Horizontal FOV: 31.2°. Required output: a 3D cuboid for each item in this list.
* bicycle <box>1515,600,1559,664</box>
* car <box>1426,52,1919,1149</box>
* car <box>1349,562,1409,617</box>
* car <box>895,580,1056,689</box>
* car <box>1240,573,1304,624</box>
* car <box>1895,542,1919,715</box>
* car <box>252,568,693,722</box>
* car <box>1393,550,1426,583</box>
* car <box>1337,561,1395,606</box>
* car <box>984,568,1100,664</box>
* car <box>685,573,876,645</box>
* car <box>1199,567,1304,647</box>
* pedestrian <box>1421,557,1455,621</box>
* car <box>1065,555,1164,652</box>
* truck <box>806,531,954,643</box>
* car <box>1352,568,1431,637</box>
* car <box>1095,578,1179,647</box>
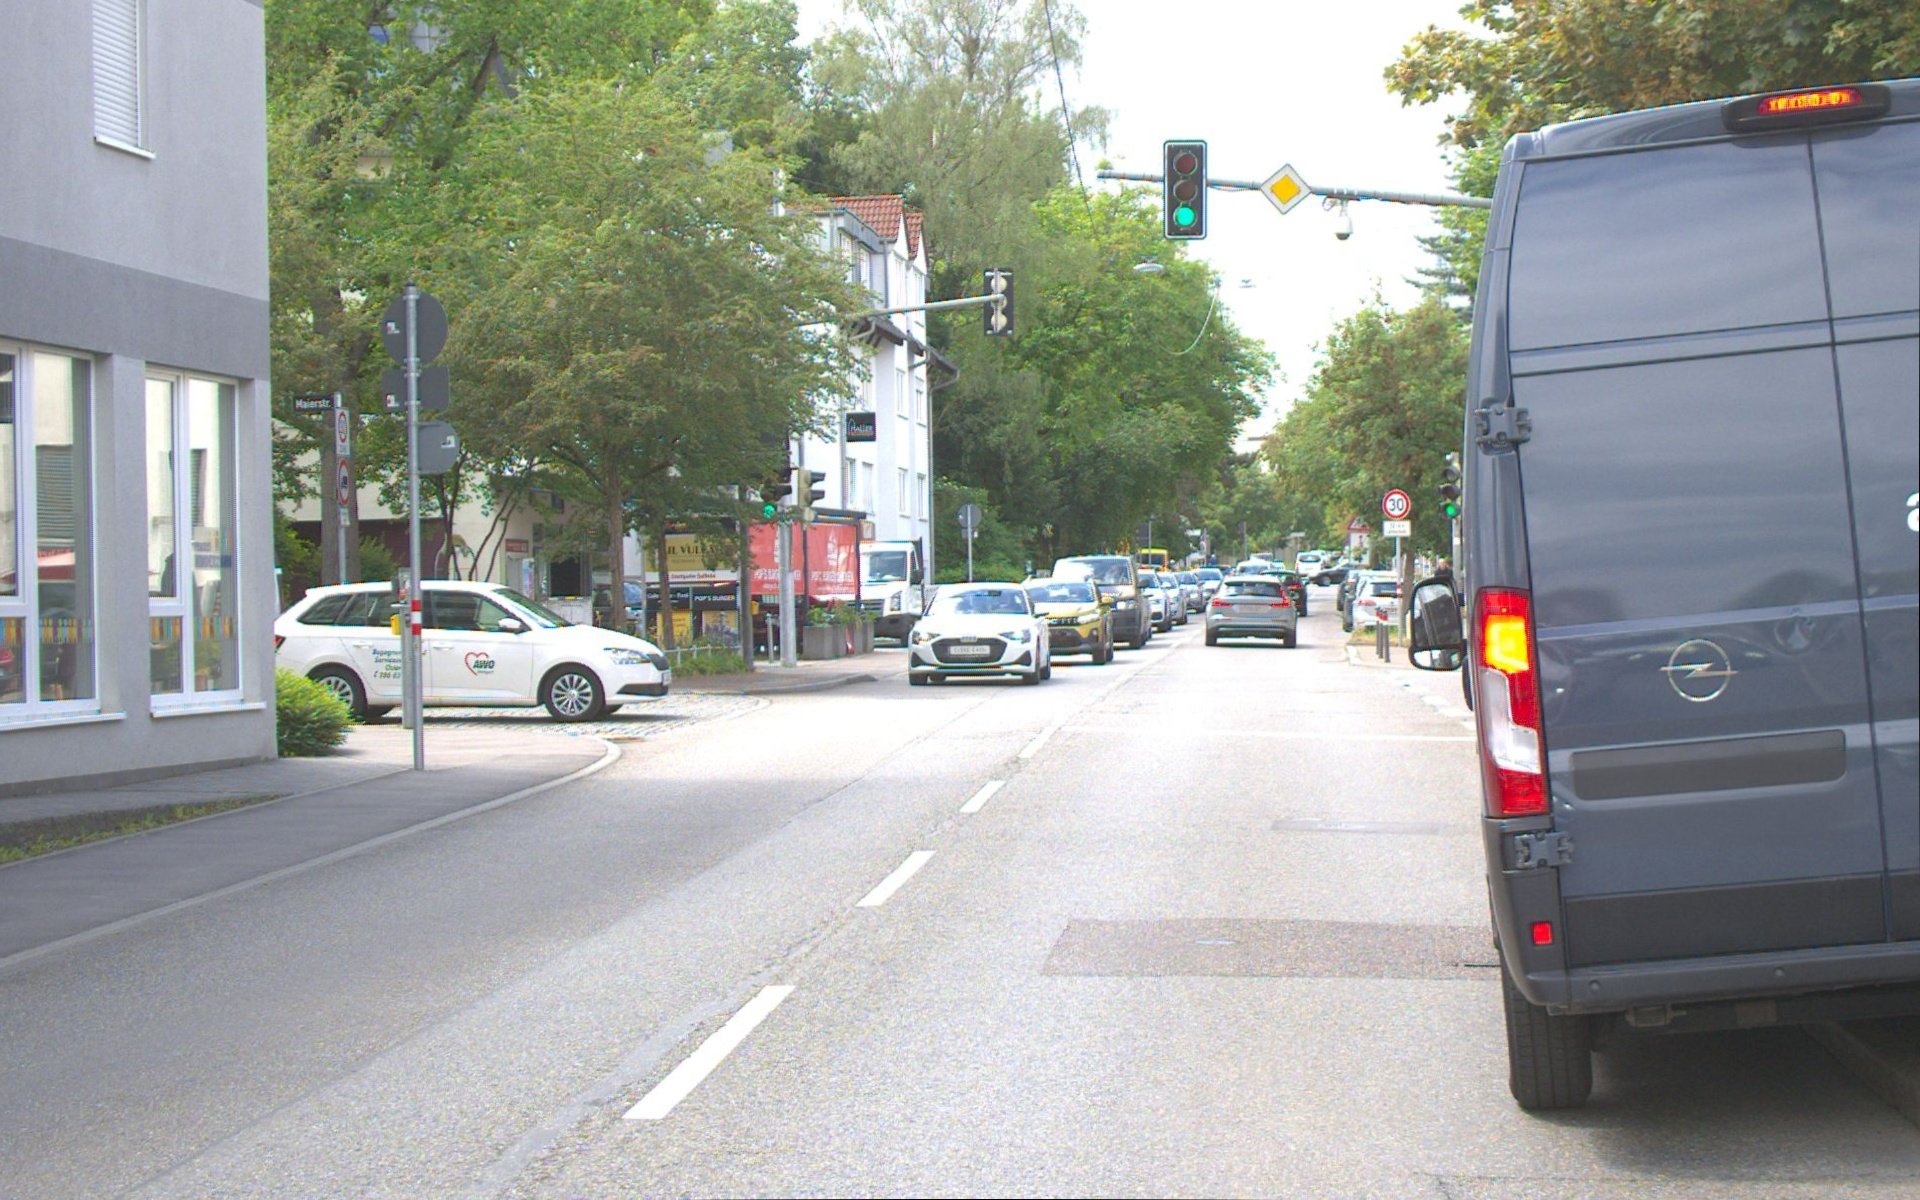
[{"bbox_3d":[10.549,0.577,62.830,0.721,1.146,2.212,-1,0,11],"label":"bicycle"},{"bbox_3d":[2.741,-0.030,11.756,2.148,2.761,6.248,-1,0,7],"label":"car"},{"bbox_3d":[11.939,-0.307,98.143,1.622,1.502,3.778,-1,1,6],"label":"car"},{"bbox_3d":[0.268,0.454,48.197,1.874,1.419,4.114,0,1,6],"label":"car"},{"bbox_3d":[9.602,-0.055,105.620,1.816,1.495,4.266,0,1,7],"label":"car"},{"bbox_3d":[10.084,0.114,31.653,1.754,1.512,4.072,-5,0,30],"label":"car"},{"bbox_3d":[-5.025,0.456,35.772,4.212,1.508,1.822,0,2,6],"label":"car"},{"bbox_3d":[28.257,-2.097,215.921,1.994,2.007,3.999,-1,0,8],"label":"car"},{"bbox_3d":[13.790,-0.576,117.002,1.802,1.440,4.886,1,1,5],"label":"car"},{"bbox_3d":[1.444,0.250,59.202,1.728,1.533,4.000,0,1,5],"label":"car"},{"bbox_3d":[-3.618,0.172,69.626,3.693,1.420,1.805,0,1,3],"label":"car"},{"bbox_3d":[6.079,0.124,71.400,1.976,1.508,4.266,2,1,7],"label":"car"},{"bbox_3d":[12.850,-0.297,92.481,0.880,1.707,0.842,-1,0,7],"label":"pedestrian"},{"bbox_3d":[3.208,0.044,70.656,1.877,1.906,4.751,0,1,4],"label":"car"},{"bbox_3d":[-1.720,-0.285,76.767,2.225,2.372,6.323,-1,0,9],"label":"truck"},{"bbox_3d":[9.807,0.033,78.397,1.701,1.475,4.871,1,1,6],"label":"car"},{"bbox_3d":[4.461,0.292,86.121,1.806,1.566,4.158,-3,0,6],"label":"car"}]
